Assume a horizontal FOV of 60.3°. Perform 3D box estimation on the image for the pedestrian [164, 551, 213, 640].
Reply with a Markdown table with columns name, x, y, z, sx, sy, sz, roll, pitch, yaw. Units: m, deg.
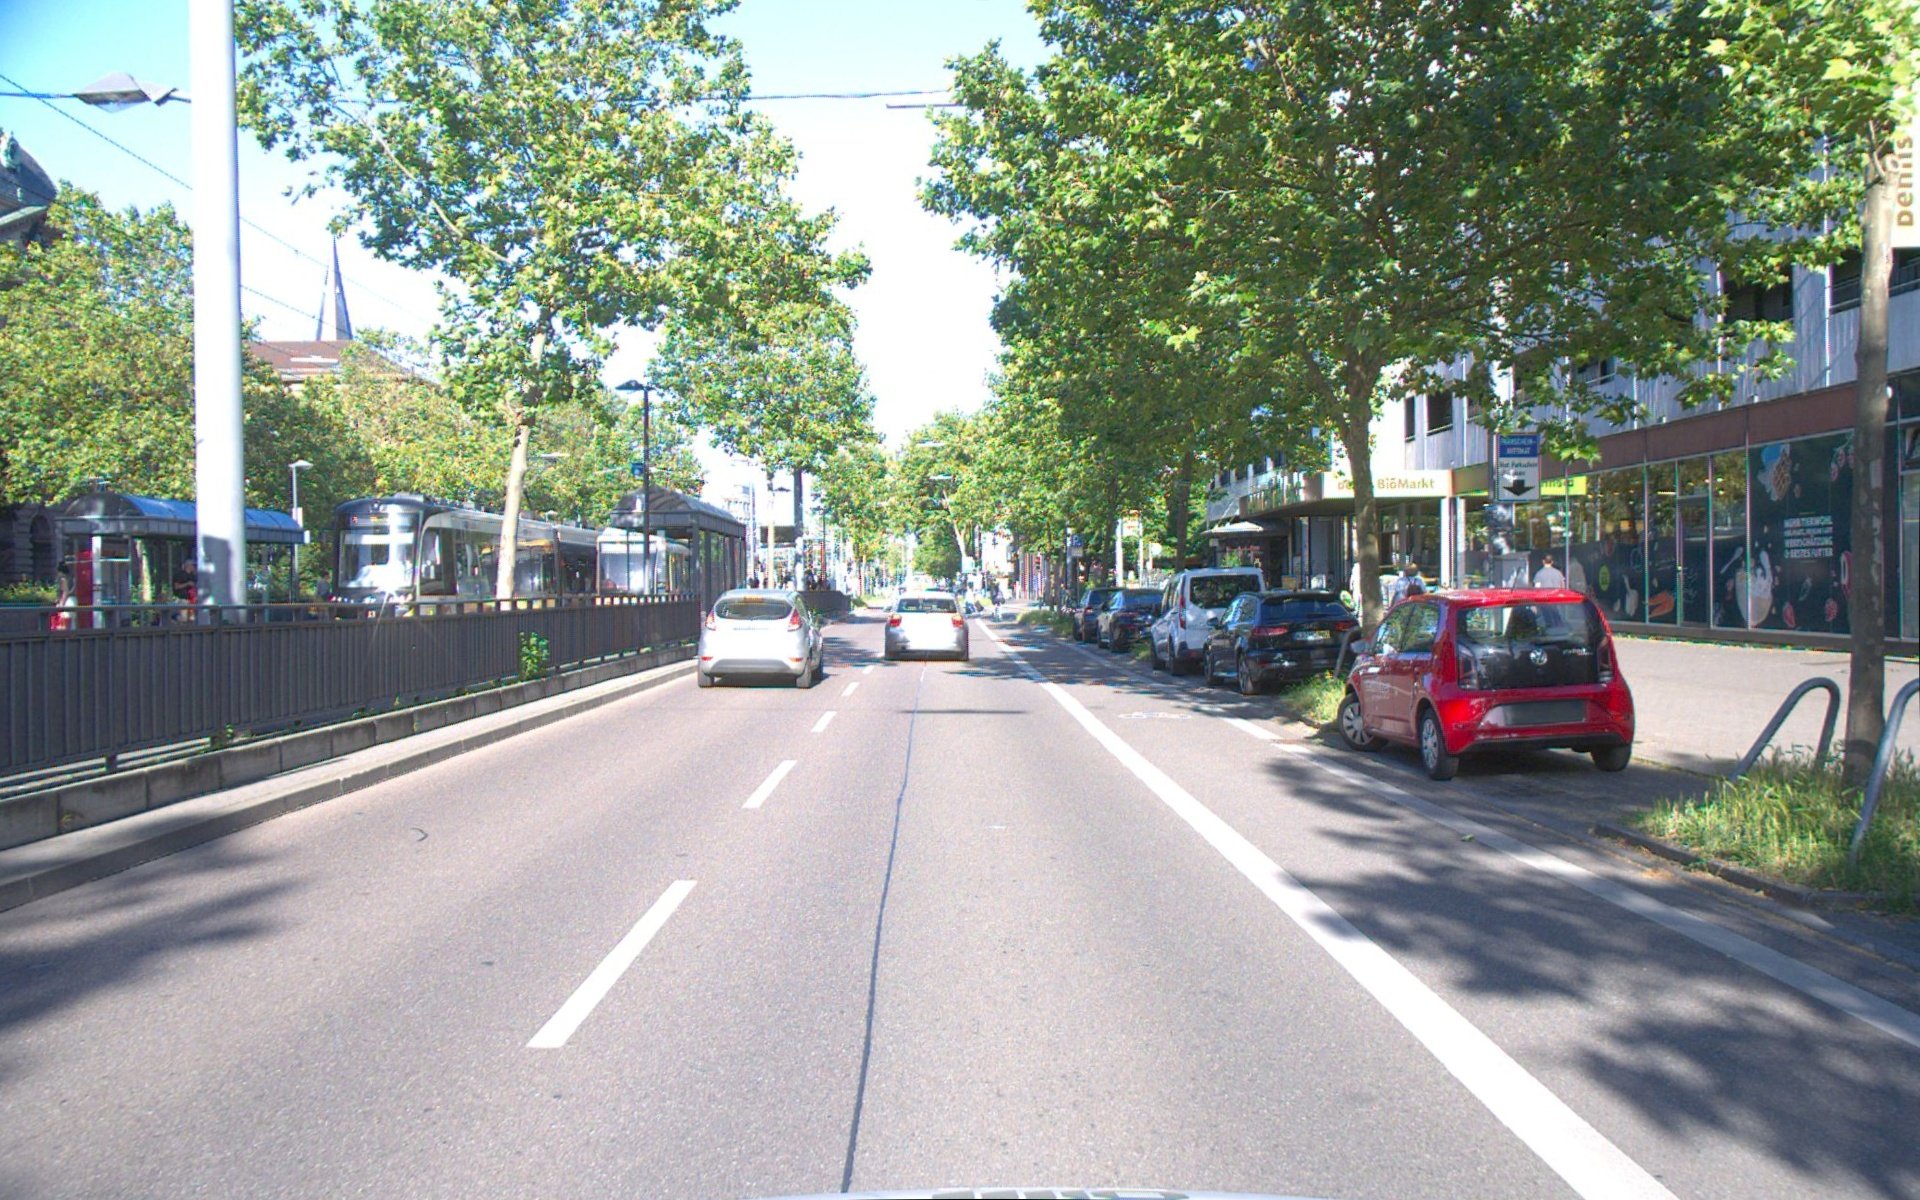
| name | x | y | z | sx | sy | sz | roll | pitch | yaw |
| --- | --- | --- | --- | --- | --- | --- | --- | --- | --- |
| pedestrian | -16.737 | -0.095 | 35.896 | 0.695 | 1.887 | 0.648 | -2 | 1 | -2 |

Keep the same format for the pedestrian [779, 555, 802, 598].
| name | x | y | z | sx | sy | sz | roll | pitch | yaw |
| --- | --- | --- | --- | --- | --- | --- | --- | --- | --- |
| pedestrian | -6.190 | -0.855 | 60.497 | 0.760 | 1.536 | 0.751 | -2 | 1 | -4 |

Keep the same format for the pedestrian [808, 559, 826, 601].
| name | x | y | z | sx | sy | sz | roll | pitch | yaw |
| --- | --- | --- | --- | --- | --- | --- | --- | --- | --- |
| pedestrian | -5.941 | -0.834 | 68.672 | 0.647 | 1.726 | 0.571 | -1 | 0 | 0 |

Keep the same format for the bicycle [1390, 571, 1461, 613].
| name | x | y | z | sx | sy | sz | roll | pitch | yaw |
| --- | --- | --- | --- | --- | --- | --- | --- | --- | --- |
| bicycle | 11.730 | -0.192 | 41.691 | 1.614 | 0.932 | 0.585 | -3 | 3 | 26 |

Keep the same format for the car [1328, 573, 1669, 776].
| name | x | y | z | sx | sy | sz | roll | pitch | yaw |
| --- | --- | --- | --- | --- | --- | --- | --- | --- | --- |
| car | 4.558 | 0.569 | 14.574 | 1.639 | 1.463 | 3.689 | -3 | 0 | -2 |

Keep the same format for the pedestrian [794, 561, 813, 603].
| name | x | y | z | sx | sy | sz | roll | pitch | yaw |
| --- | --- | --- | --- | --- | --- | --- | --- | --- | --- |
| pedestrian | -6.338 | -0.723 | 67.084 | 0.647 | 1.662 | 0.571 | -1 | 1 | 0 |

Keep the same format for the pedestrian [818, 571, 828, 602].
| name | x | y | z | sx | sy | sz | roll | pitch | yaw |
| --- | --- | --- | --- | --- | --- | --- | --- | --- | --- |
| pedestrian | -5.847 | -0.576 | 70.600 | 0.407 | 1.339 | 0.507 | -1 | 1 | -3 |

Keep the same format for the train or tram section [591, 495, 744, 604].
| name | x | y | z | sx | sy | sz | roll | pitch | yaw |
| --- | --- | --- | --- | --- | --- | --- | --- | --- | --- |
| train or tram section | -10.089 | -1.540 | 59.163 | 2.855 | 3.317 | 15.890 | 1 | 0 | -1 |

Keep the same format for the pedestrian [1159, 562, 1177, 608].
| name | x | y | z | sx | sy | sz | roll | pitch | yaw |
| --- | --- | --- | --- | --- | --- | --- | --- | --- | --- |
| pedestrian | 8.247 | -0.588 | 65.525 | 0.548 | 1.775 | 0.878 | -2 | 1 | -1 |

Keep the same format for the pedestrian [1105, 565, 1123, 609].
| name | x | y | z | sx | sy | sz | roll | pitch | yaw |
| --- | --- | --- | --- | --- | --- | --- | --- | --- | --- |
| pedestrian | 6.104 | -0.523 | 65.465 | 0.548 | 1.734 | 1.052 | -2 | 1 | -1 |

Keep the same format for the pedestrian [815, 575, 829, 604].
| name | x | y | z | sx | sy | sz | roll | pitch | yaw |
| --- | --- | --- | --- | --- | --- | --- | --- | --- | --- |
| pedestrian | -5.781 | -0.449 | 69.391 | 0.534 | 1.213 | 0.531 | -1 | 1 | -1 |

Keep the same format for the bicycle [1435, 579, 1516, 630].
| name | x | y | z | sx | sy | sz | roll | pitch | yaw |
| --- | --- | --- | --- | --- | --- | --- | --- | --- | --- |
| bicycle | 11.920 | 0.106 | 38.225 | 1.666 | 1.073 | 0.585 | -3 | 2 | 26 |

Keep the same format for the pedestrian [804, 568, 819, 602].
| name | x | y | z | sx | sy | sz | roll | pitch | yaw |
| --- | --- | --- | --- | --- | --- | --- | --- | --- | --- |
| pedestrian | -5.757 | -0.583 | 64.093 | 0.523 | 1.268 | 0.604 | -2 | 1 | -3 |

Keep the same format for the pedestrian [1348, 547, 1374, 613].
| name | x | y | z | sx | sy | sz | roll | pitch | yaw |
| --- | --- | --- | --- | --- | --- | --- | --- | --- | --- |
| pedestrian | 11.069 | -0.562 | 45.626 | 0.598 | 1.745 | 0.614 | -3 | 2 | 15 |

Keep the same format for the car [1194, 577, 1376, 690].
| name | x | y | z | sx | sy | sz | roll | pitch | yaw |
| --- | --- | --- | --- | --- | --- | --- | --- | --- | --- |
| car | 4.663 | 0.423 | 24.342 | 1.694 | 1.427 | 4.294 | -3 | 1 | -1 |

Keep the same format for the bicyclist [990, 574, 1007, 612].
| name | x | y | z | sx | sy | sz | roll | pitch | yaw |
| --- | --- | --- | --- | --- | --- | --- | --- | --- | --- |
| bicyclist | 1.760 | -0.333 | 75.326 | 0.644 | 1.686 | 0.765 | -2 | 1 | 8 |

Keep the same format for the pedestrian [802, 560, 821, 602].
| name | x | y | z | sx | sy | sz | roll | pitch | yaw |
| --- | --- | --- | --- | --- | --- | --- | --- | --- | --- |
| pedestrian | -6.067 | -0.778 | 67.631 | 0.647 | 1.726 | 0.571 | -1 | 0 | 0 |

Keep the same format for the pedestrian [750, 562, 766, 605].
| name | x | y | z | sx | sy | sz | roll | pitch | yaw |
| --- | --- | --- | --- | --- | --- | --- | --- | --- | --- |
| pedestrian | -8.278 | -0.671 | 67.823 | 0.597 | 1.732 | 0.545 | -1 | 0 | -5 |

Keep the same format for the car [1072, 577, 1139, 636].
| name | x | y | z | sx | sy | sz | roll | pitch | yaw |
| --- | --- | --- | --- | --- | --- | --- | --- | --- | --- |
| car | 4.068 | 0.154 | 46.705 | 1.533 | 1.577 | 4.000 | -1 | 1 | 0 |

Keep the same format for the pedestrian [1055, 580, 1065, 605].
| name | x | y | z | sx | sy | sz | roll | pitch | yaw |
| --- | --- | --- | --- | --- | --- | --- | --- | --- | --- |
| pedestrian | 6.612 | -0.488 | 109.253 | 0.613 | 1.657 | 0.944 | 0 | 0 | 7 |

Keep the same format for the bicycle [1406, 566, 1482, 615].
| name | x | y | z | sx | sy | sz | roll | pitch | yaw |
| --- | --- | --- | --- | --- | --- | --- | --- | --- | --- |
| bicycle | 11.881 | -0.234 | 40.577 | 1.666 | 1.073 | 0.585 | -3 | 3 | 26 |

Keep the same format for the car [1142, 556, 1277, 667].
| name | x | y | z | sx | sy | sz | roll | pitch | yaw |
| --- | --- | --- | --- | --- | --- | --- | --- | --- | --- |
| car | 4.471 | 0.160 | 30.235 | 1.728 | 1.823 | 4.393 | -2 | 1 | 0 |

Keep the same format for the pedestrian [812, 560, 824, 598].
| name | x | y | z | sx | sy | sz | roll | pitch | yaw |
| --- | --- | --- | --- | --- | --- | --- | --- | --- | --- |
| pedestrian | -6.738 | -0.997 | 78.355 | 0.537 | 1.764 | 0.539 | -1 | 0 | -5 |

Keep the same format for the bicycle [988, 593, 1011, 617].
| name | x | y | z | sx | sy | sz | roll | pitch | yaw |
| --- | --- | --- | --- | --- | --- | --- | --- | --- | --- |
| bicycle | 1.795 | 0.223 | 75.399 | 0.814 | 1.059 | 1.876 | -2 | 1 | 8 |

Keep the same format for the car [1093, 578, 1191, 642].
| name | x | y | z | sx | sy | sz | roll | pitch | yaw |
| --- | --- | --- | --- | --- | --- | --- | --- | --- | --- |
| car | 4.289 | 0.191 | 39.631 | 1.726 | 1.442 | 4.699 | 0 | 1 | -1 |

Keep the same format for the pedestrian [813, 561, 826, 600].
| name | x | y | z | sx | sy | sz | roll | pitch | yaw |
| --- | --- | --- | --- | --- | --- | --- | --- | --- | --- |
| pedestrian | -6.363 | -0.873 | 74.856 | 0.537 | 1.764 | 0.539 | -1 | 0 | -3 |

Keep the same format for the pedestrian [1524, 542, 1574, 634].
| name | x | y | z | sx | sy | sz | roll | pitch | yaw |
| --- | --- | --- | --- | --- | --- | --- | --- | --- | --- |
| pedestrian | 11.224 | -0.234 | 31.544 | 0.546 | 1.707 | 0.882 | -3 | 0 | -1 |

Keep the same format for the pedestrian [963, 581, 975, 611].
| name | x | y | z | sx | sy | sz | roll | pitch | yaw |
| --- | --- | --- | --- | --- | --- | --- | --- | --- | --- |
| pedestrian | 0.522 | -0.224 | 93.773 | 0.626 | 1.647 | 0.642 | -1 | -2 | 1 |

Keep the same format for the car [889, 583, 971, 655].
| name | x | y | z | sx | sy | sz | roll | pitch | yaw |
| --- | --- | --- | --- | --- | --- | --- | --- | --- | --- |
| car | -0.598 | 0.371 | 35.192 | 1.626 | 1.434 | 3.632 | 0 | 0 | 1 |

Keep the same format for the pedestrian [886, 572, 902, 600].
| name | x | y | z | sx | sy | sz | roll | pitch | yaw |
| --- | --- | --- | --- | --- | --- | --- | --- | --- | --- |
| pedestrian | -3.807 | -0.785 | 95.537 | 0.812 | 1.603 | 0.739 | 0 | 0 | 7 |

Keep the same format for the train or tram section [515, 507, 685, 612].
| name | x | y | z | sx | sy | sz | roll | pitch | yaw |
| --- | --- | --- | --- | --- | --- | --- | --- | --- | --- |
| train or tram section | -13.520 | -1.506 | 64.345 | 2.791 | 3.494 | 18.213 | 0 | 1 | -1 |

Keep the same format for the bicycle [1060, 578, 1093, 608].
| name | x | y | z | sx | sy | sz | roll | pitch | yaw |
| --- | --- | --- | --- | --- | --- | --- | --- | --- | --- |
| bicycle | 4.600 | -0.288 | 65.312 | 0.774 | 1.153 | 1.840 | -2 | 1 | -13 |

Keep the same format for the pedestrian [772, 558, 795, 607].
| name | x | y | z | sx | sy | sz | roll | pitch | yaw |
| --- | --- | --- | --- | --- | --- | --- | --- | --- | --- |
| pedestrian | -6.600 | -0.660 | 61.891 | 0.760 | 1.783 | 0.723 | -2 | 1 | -4 |

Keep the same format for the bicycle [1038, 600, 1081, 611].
| name | x | y | z | sx | sy | sz | roll | pitch | yaw |
| --- | --- | --- | --- | --- | --- | --- | --- | --- | --- |
| bicycle | 3.969 | 0.219 | 66.113 | 1.576 | 0.359 | 1.389 | -2 | 1 | -1 |

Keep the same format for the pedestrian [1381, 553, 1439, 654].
| name | x | y | z | sx | sy | sz | roll | pitch | yaw |
| --- | --- | --- | --- | --- | --- | --- | --- | --- | --- |
| pedestrian | 7.552 | 0.056 | 27.793 | 0.683 | 1.640 | 0.868 | -3 | 1 | 1 |

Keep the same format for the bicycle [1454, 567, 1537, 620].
| name | x | y | z | sx | sy | sz | roll | pitch | yaw |
| --- | --- | --- | --- | --- | --- | --- | --- | --- | --- |
| bicycle | 12.084 | -0.152 | 37.308 | 1.666 | 1.073 | 0.585 | -3 | 1 | 26 |

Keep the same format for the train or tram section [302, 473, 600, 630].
| name | x | y | z | sx | sy | sz | roll | pitch | yaw |
| --- | --- | --- | --- | --- | --- | --- | --- | --- | --- |
| train or tram section | -13.367 | -1.236 | 46.090 | 2.812 | 3.494 | 18.275 | 0 | 1 | -1 |

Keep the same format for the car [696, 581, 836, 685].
| name | x | y | z | sx | sy | sz | roll | pitch | yaw |
| --- | --- | --- | --- | --- | --- | --- | --- | --- | --- |
| car | -2.919 | 0.446 | 25.602 | 1.694 | 1.414 | 3.840 | 0 | 2 | 0 |
